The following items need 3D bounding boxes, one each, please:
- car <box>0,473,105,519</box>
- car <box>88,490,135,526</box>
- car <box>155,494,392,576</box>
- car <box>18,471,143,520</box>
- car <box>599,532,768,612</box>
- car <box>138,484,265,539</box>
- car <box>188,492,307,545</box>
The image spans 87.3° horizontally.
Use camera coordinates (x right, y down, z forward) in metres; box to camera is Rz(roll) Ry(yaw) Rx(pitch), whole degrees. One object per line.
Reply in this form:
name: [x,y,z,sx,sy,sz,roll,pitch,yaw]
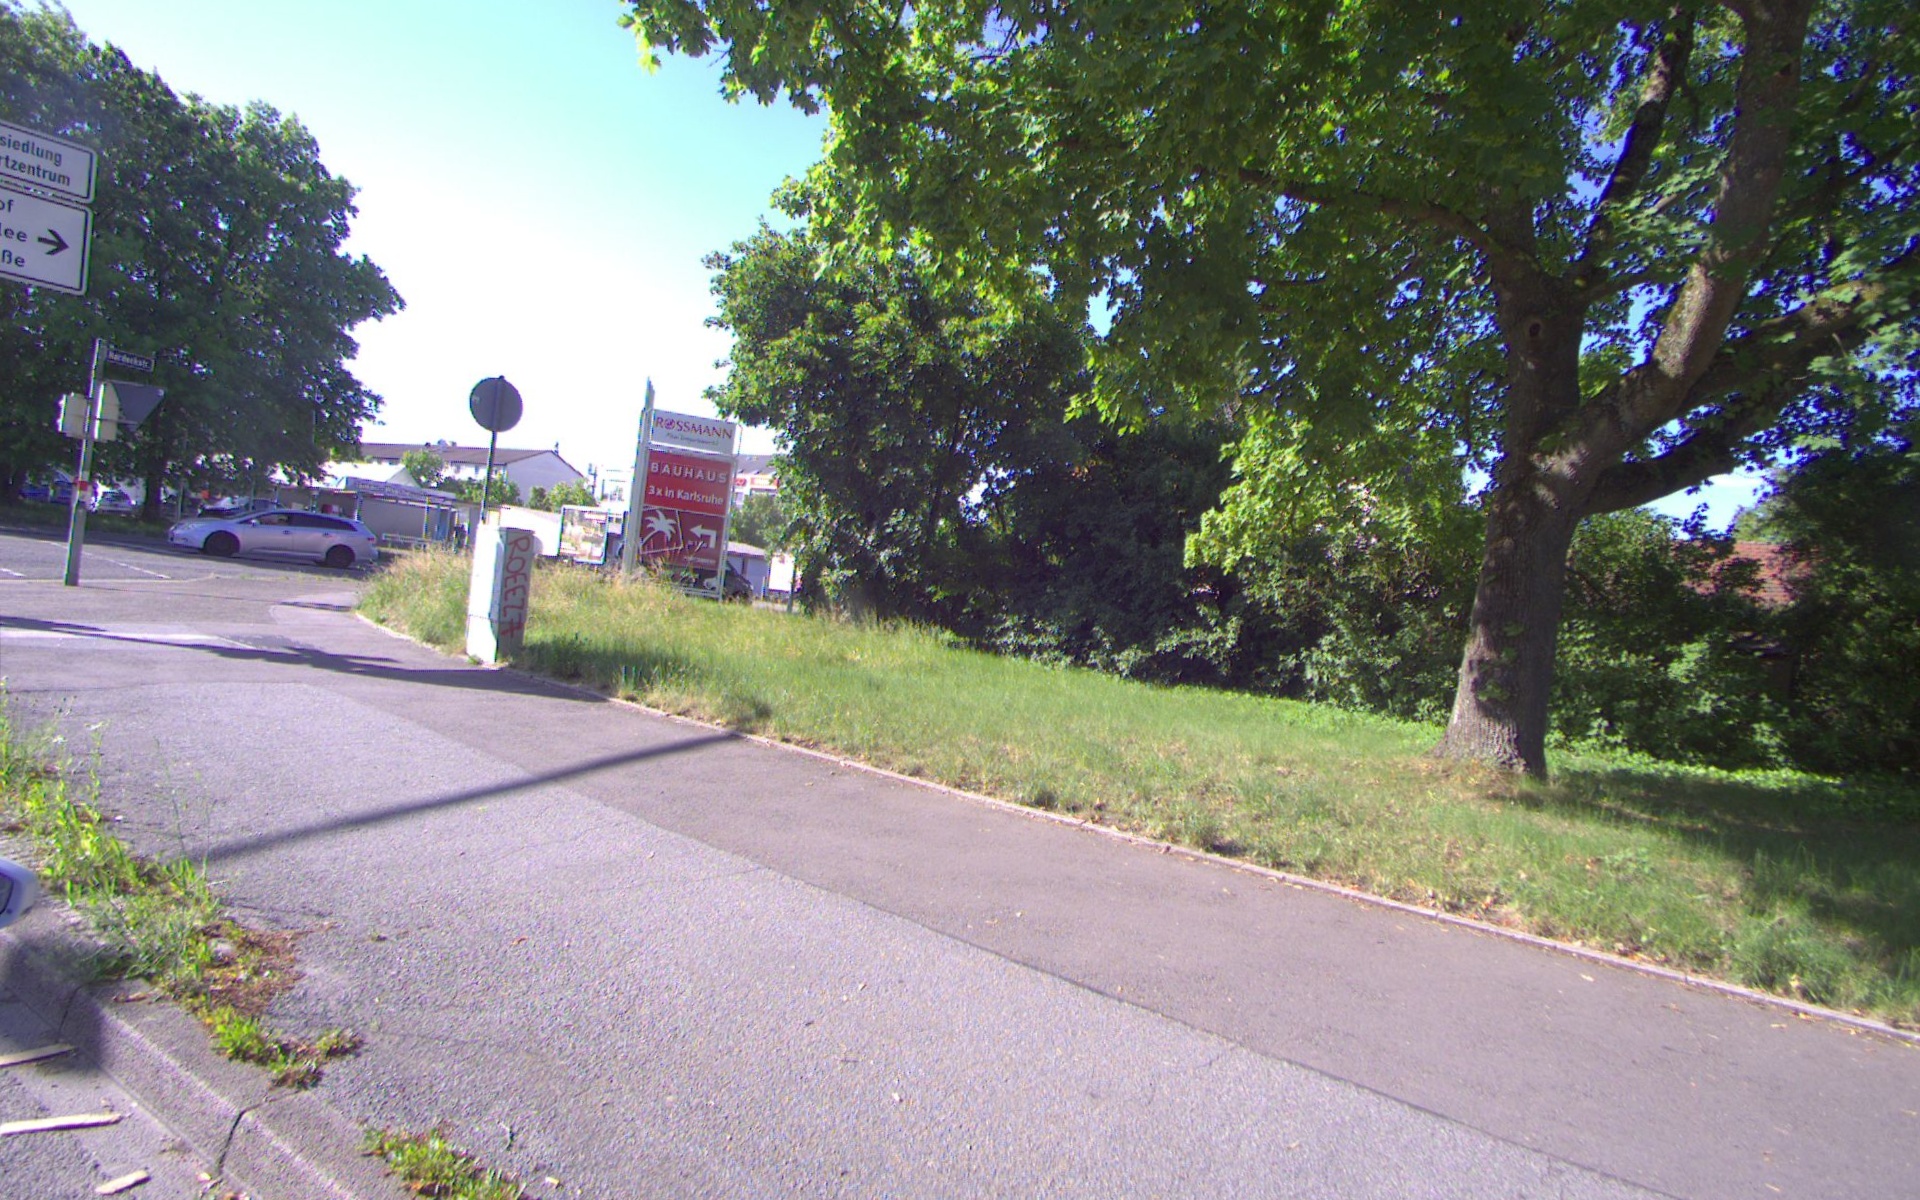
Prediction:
car: [-41.992,-4.770,46.167,1.712,1.537,3.902,7,0,9]
car: [-48.605,-5.279,57.628,1.734,1.701,3.950,6,1,-44]
car: [-18.651,-1.735,27.536,1.973,1.504,4.994,7,0,43]
car: [-39.182,-4.629,44.942,1.712,1.537,3.902,7,0,9]
car: [-8.940,-0.871,32.934,1.890,2.017,4.993,7,1,39]
car: [-32.340,-3.716,43.038,1.962,1.772,4.000,7,1,9]
car: [-30.298,-3.428,42.927,1.712,1.701,4.001,7,0,9]
